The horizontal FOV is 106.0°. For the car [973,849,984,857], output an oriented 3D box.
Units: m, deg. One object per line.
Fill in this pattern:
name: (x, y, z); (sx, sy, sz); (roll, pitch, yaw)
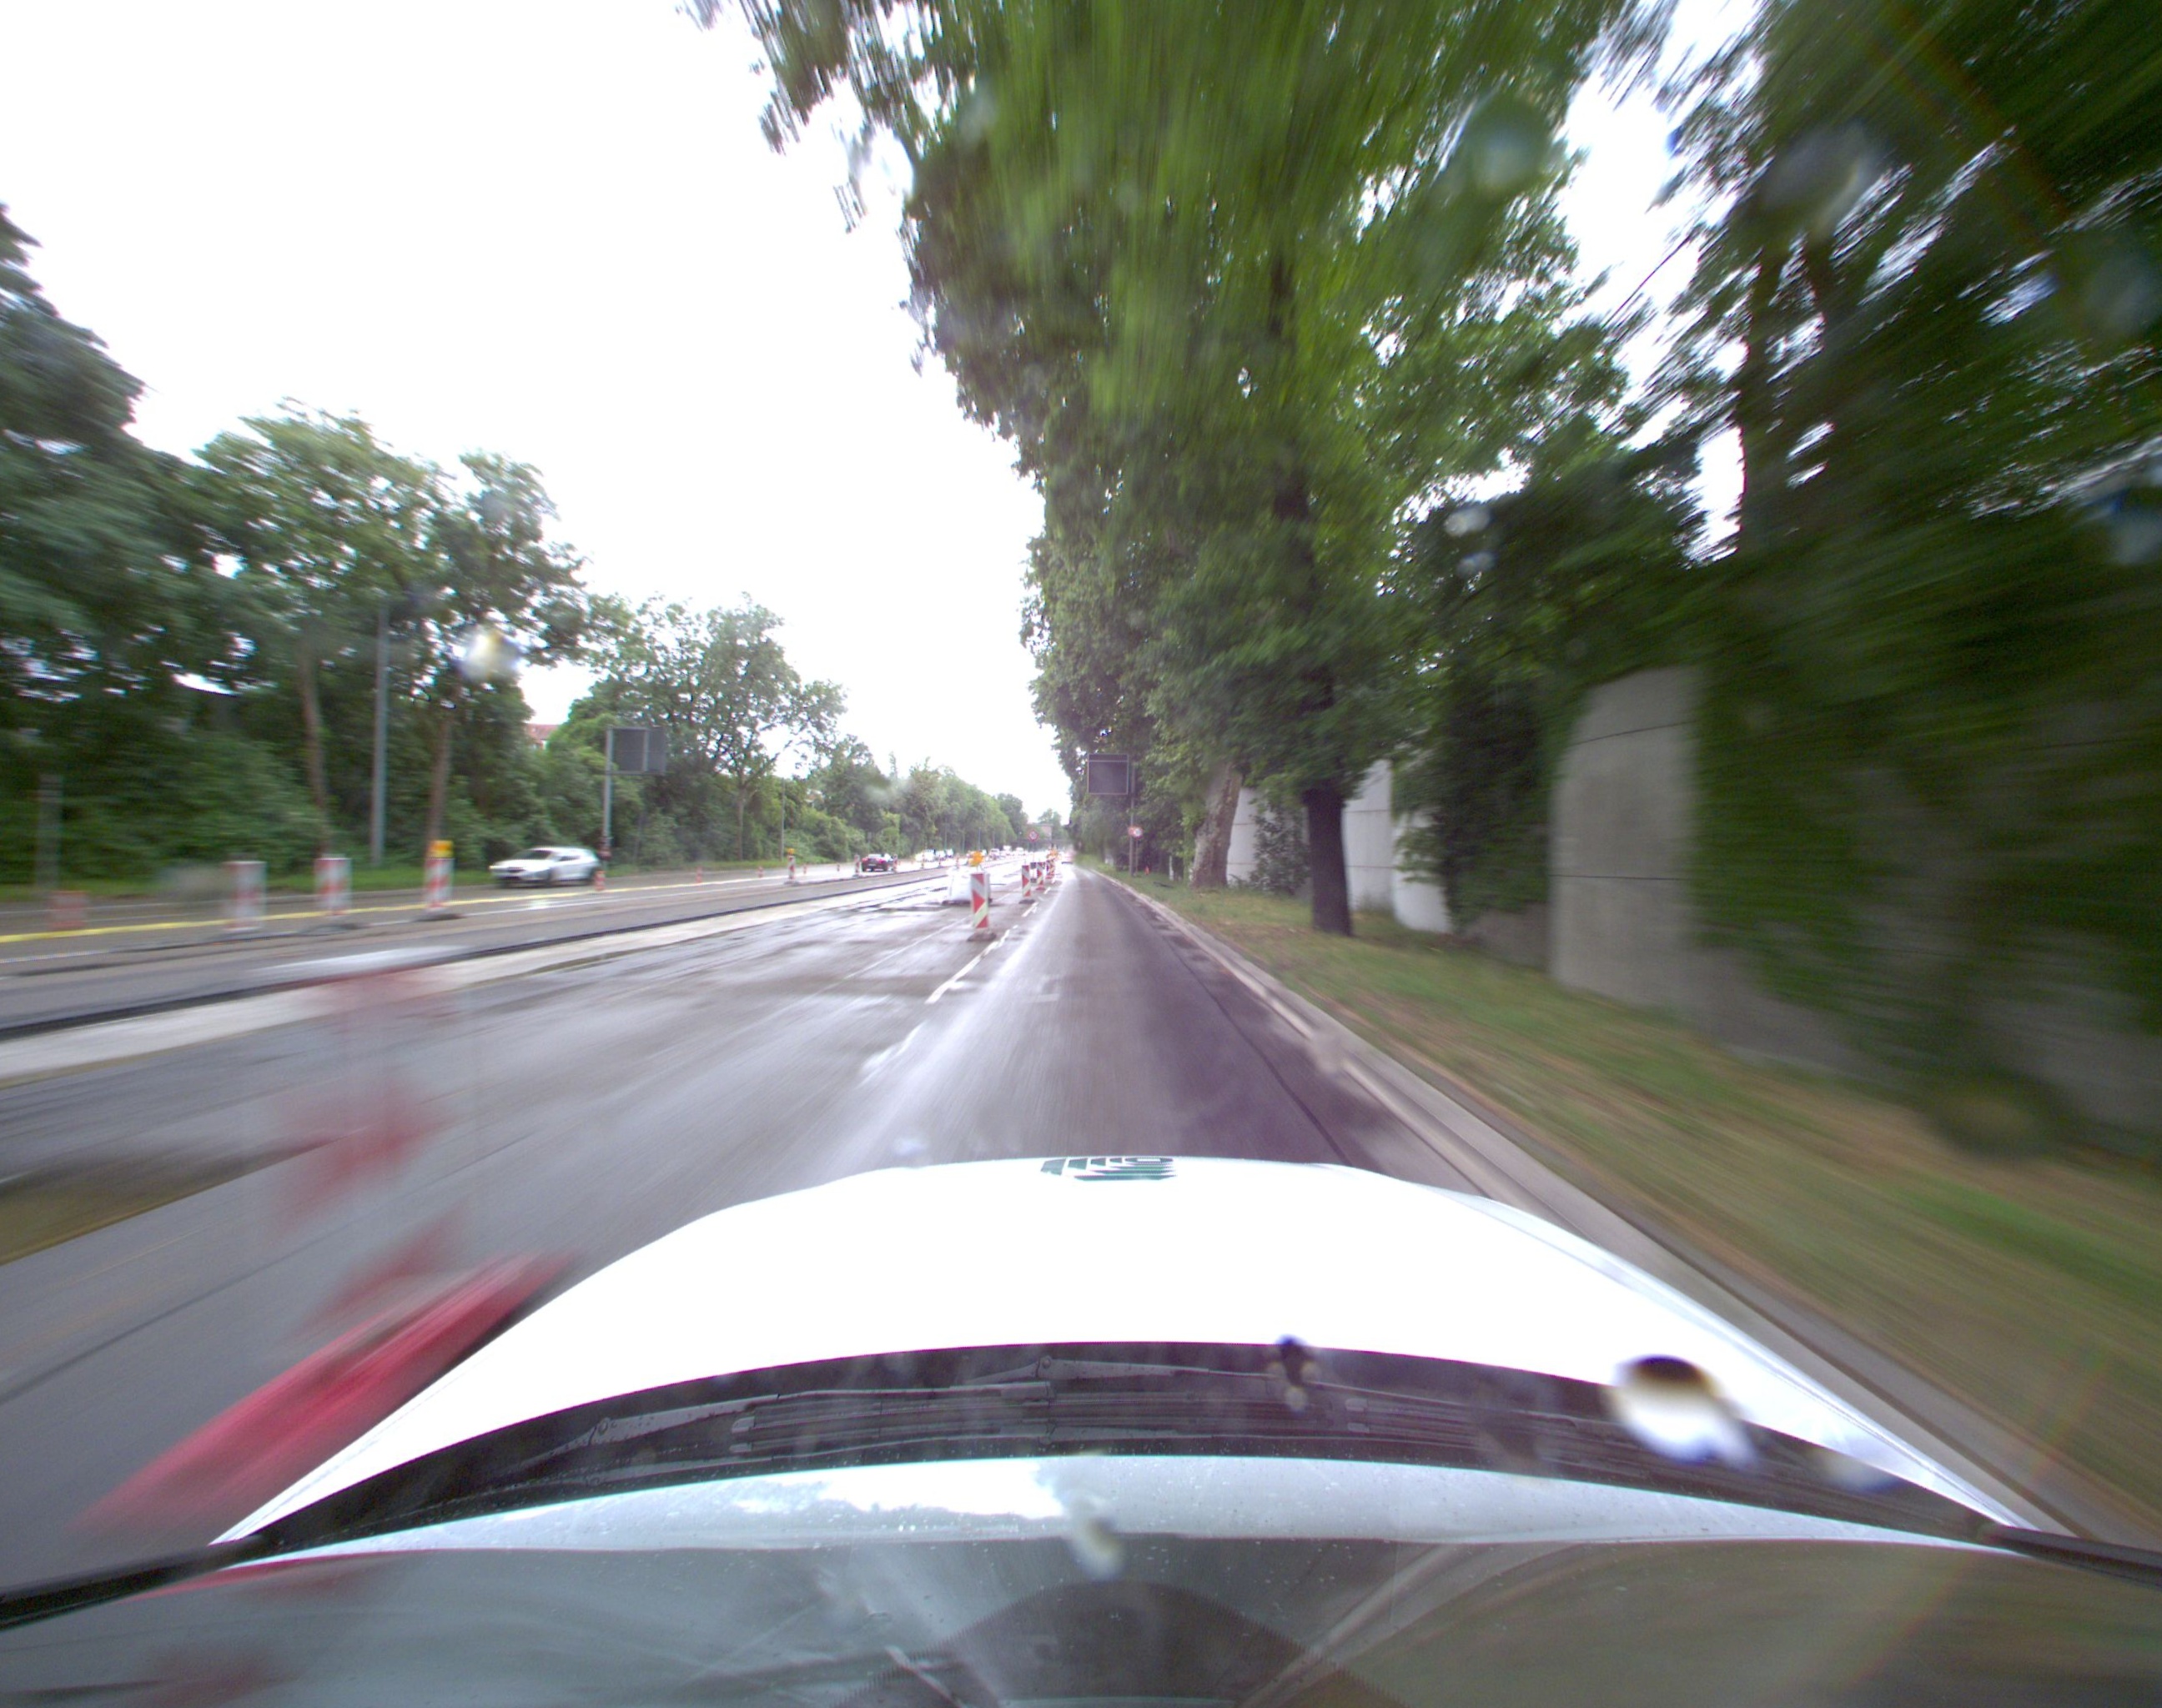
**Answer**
car: (-20.556, -0.246, 164.174); (1.756, 1.483, 4.896); (1, 0, -2)

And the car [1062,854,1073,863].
car: (-2.229, 0.707, 134.473); (1.693, 1.336, 3.489); (-1, 0, -2)

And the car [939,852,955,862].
car: (-19.934, 0.451, 121.494); (1.813, 1.355, 4.202); (-1, 0, -2)

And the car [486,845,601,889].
car: (-20.738, 0.454, 31.640); (1.661, 1.541, 4.157); (-2, 0, 0)

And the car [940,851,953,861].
car: (-23.825, 0.297, 144.074); (1.648, 1.685, 4.530); (2, 0, -2)

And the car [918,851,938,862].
car: (-19.344, 0.259, 102.979); (1.813, 1.355, 4.387); (-1, 0, -2)

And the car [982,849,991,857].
car: (-20.722, -0.183, 178.778); (1.730, 1.722, 4.490); (1, 0, -2)

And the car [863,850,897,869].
car: (-14.976, 0.391, 60.878); (1.603, 1.404, 4.038); (1, 0, -2)

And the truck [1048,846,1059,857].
truck: (-8.892, -0.844, 266.055); (3.251, 3.497, 13.860); (1, 0, -2)
